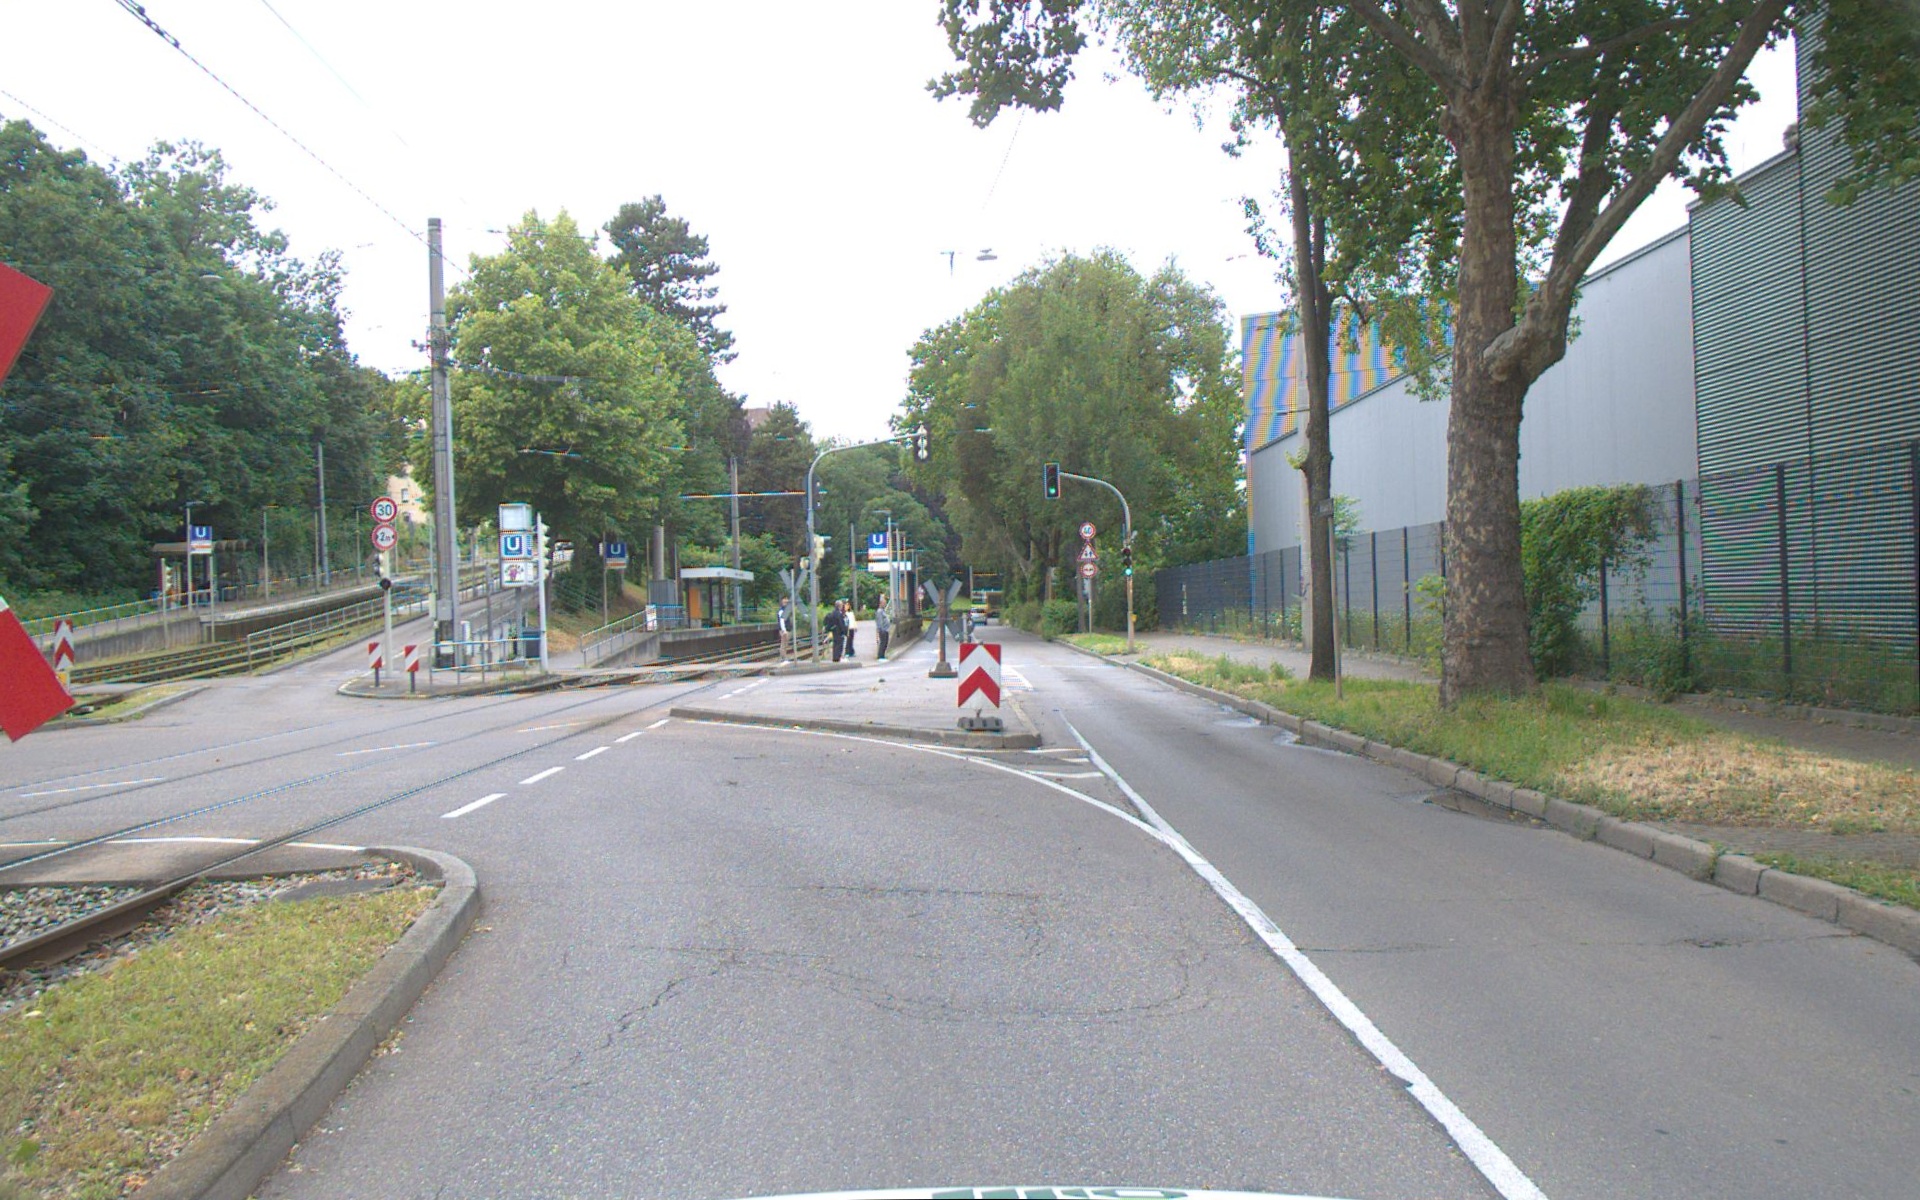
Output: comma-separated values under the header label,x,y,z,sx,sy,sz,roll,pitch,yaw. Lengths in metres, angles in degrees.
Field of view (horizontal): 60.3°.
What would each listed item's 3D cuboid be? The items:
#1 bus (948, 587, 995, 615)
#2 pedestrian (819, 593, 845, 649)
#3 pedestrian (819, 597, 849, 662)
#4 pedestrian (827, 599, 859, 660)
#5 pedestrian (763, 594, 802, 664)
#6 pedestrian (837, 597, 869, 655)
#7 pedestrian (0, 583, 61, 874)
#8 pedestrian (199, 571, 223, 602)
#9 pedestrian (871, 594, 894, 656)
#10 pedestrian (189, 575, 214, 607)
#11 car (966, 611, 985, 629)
label,x,y,z,sx,sy,sz,roll,pitch,yaw
bus,1.603,0.133,226.612,2.681,3.690,8.931,0,-1,27
pedestrian,-3.943,0.638,50.864,0.722,1.694,0.680,1,-1,-11
pedestrian,-3.356,0.785,44.066,0.720,1.694,0.682,1,-1,1
pedestrian,-3.299,0.828,46.663,0.665,1.694,0.738,1,-1,15
pedestrian,-4.775,0.785,44.482,0.658,1.853,0.801,0,-1,40
pedestrian,-3.188,0.767,49.394,0.666,1.694,0.736,0,-1,27
pedestrian,-6.425,0.788,10.372,1.093,1.791,0.814,0,-1,13
pedestrian,-32.978,-0.586,72.810,0.757,1.349,0.785,1,-1,-8
pedestrian,-2.245,0.725,47.871,0.538,1.789,0.738,1,-1,4
pedestrian,-32.846,-0.391,71.624,0.757,1.349,0.786,1,2,-8
car,1.456,1.914,156.837,1.708,1.627,3.999,1,0,-1
